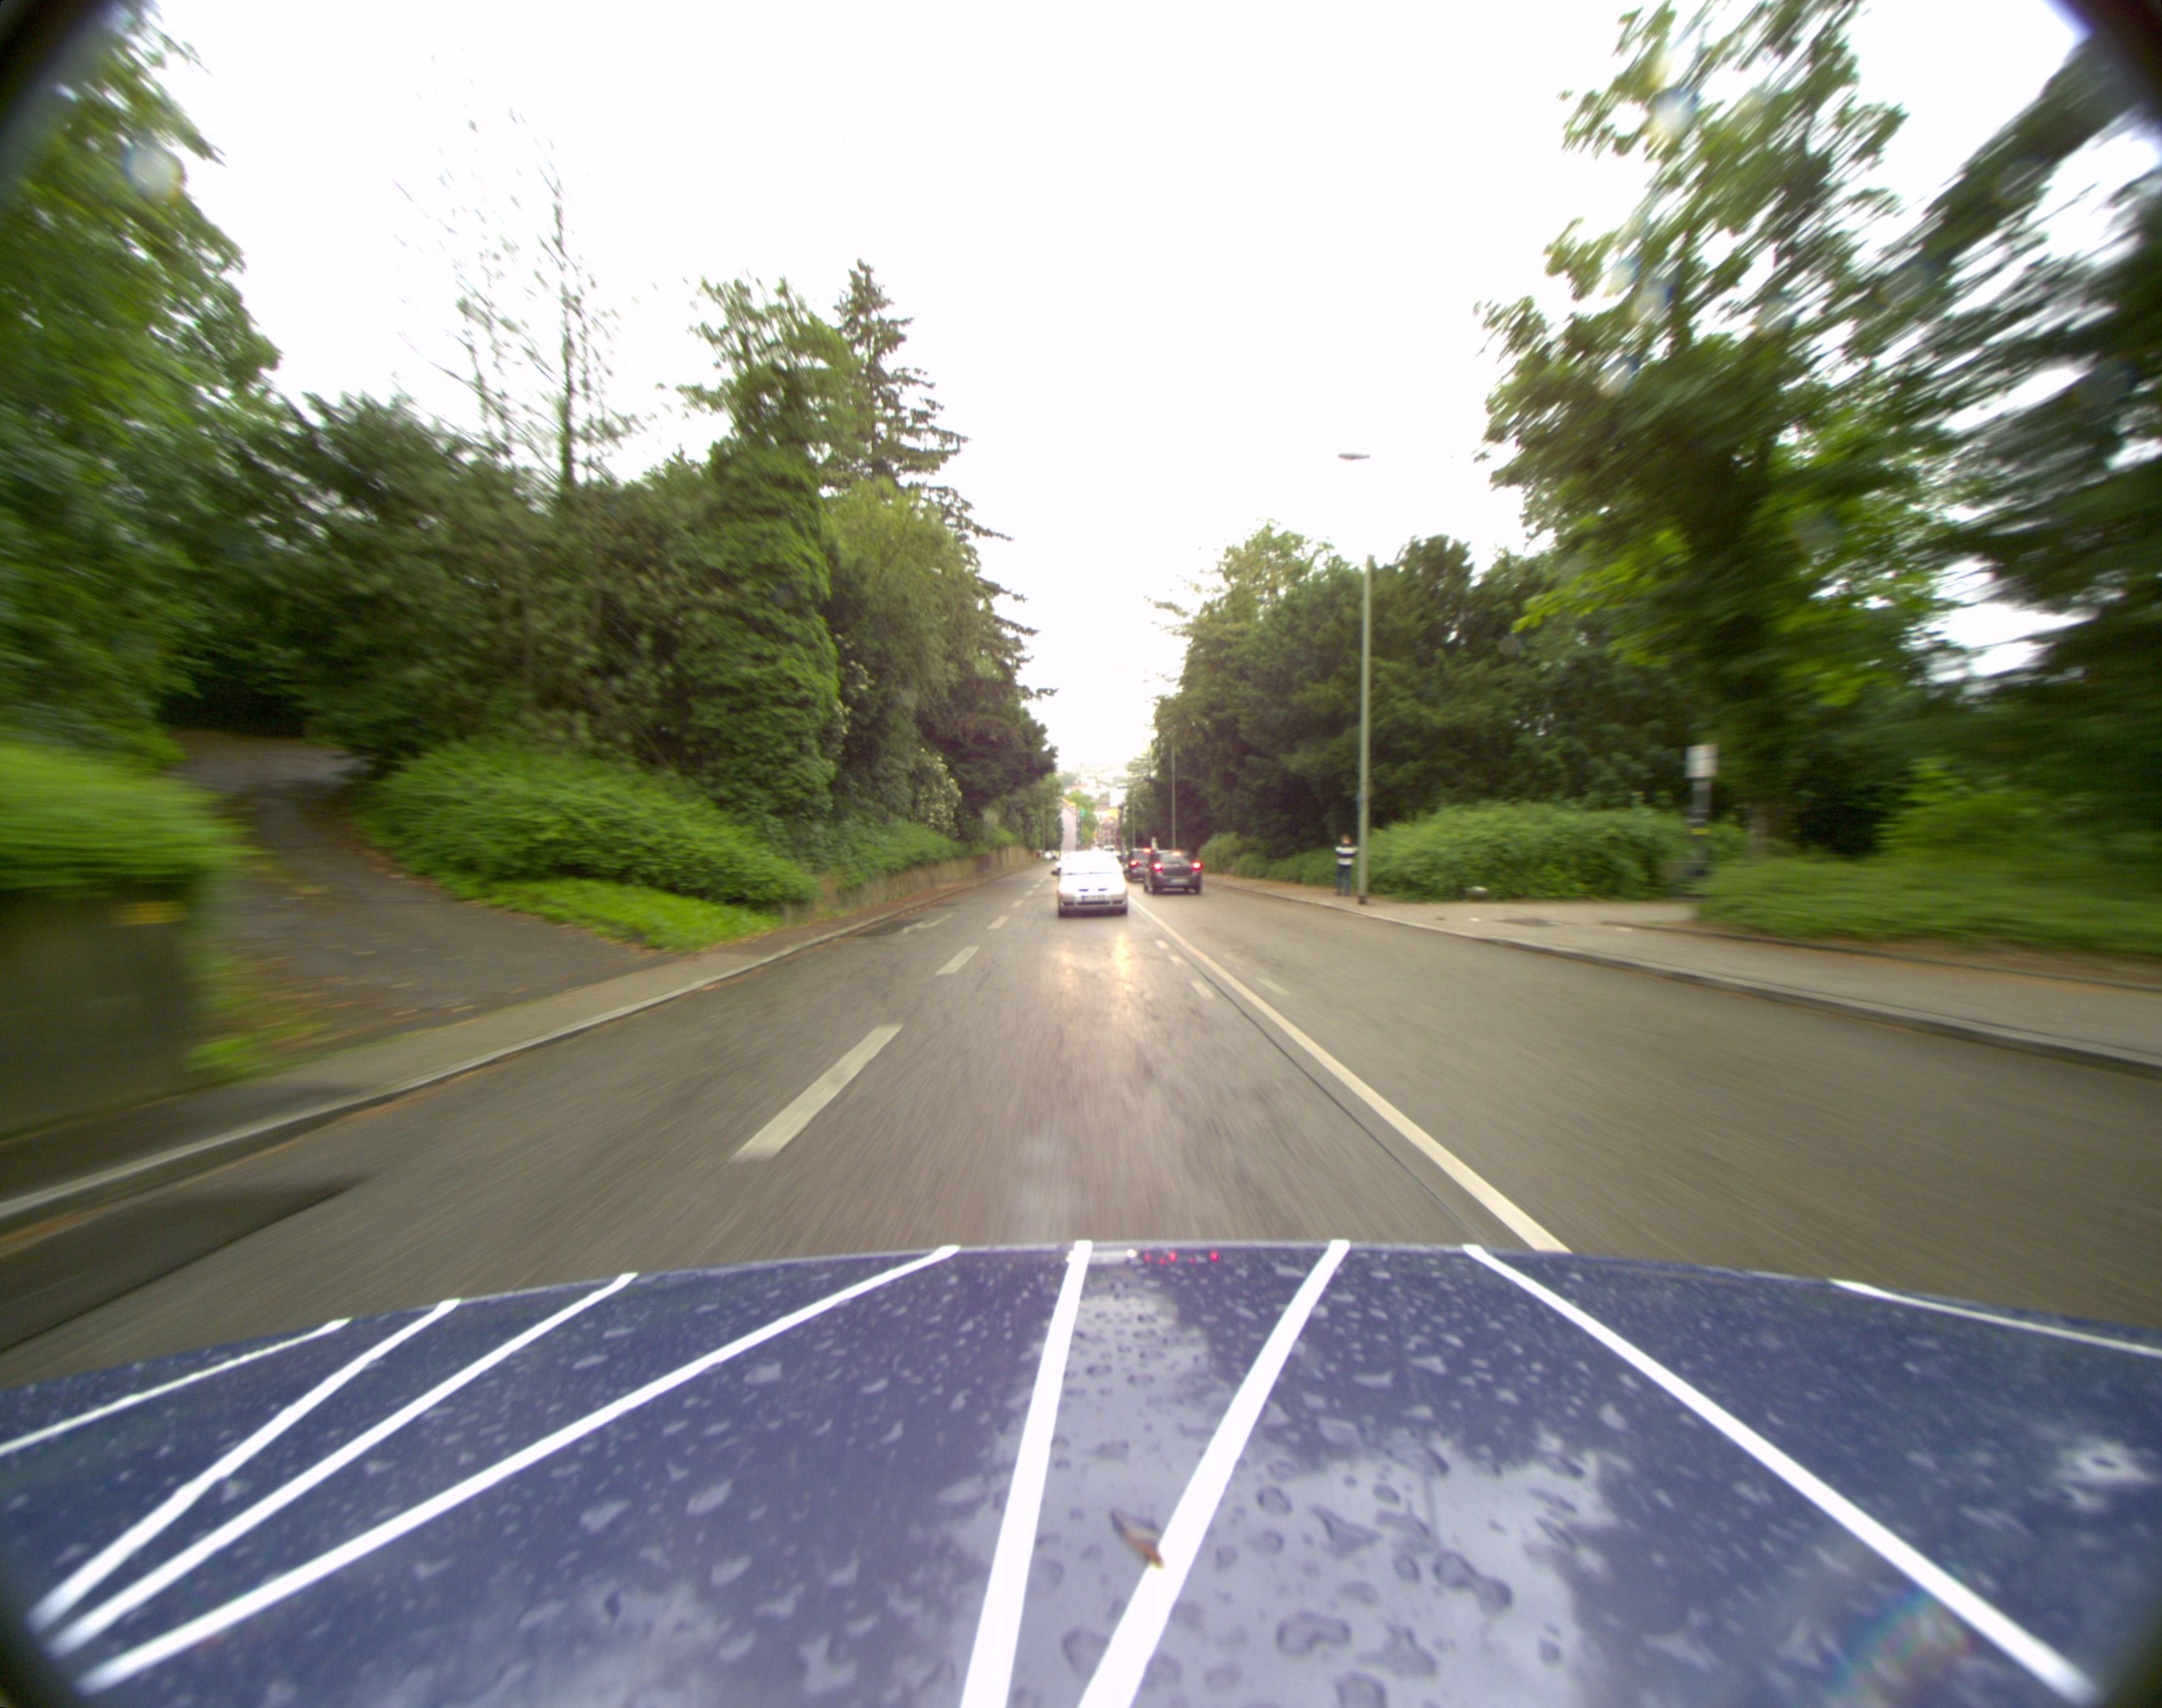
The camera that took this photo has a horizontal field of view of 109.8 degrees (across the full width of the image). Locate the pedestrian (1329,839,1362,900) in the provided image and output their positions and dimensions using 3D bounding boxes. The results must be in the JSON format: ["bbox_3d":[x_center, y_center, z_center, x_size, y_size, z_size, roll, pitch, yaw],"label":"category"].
[{"bbox_3d":[7.230,0.412,20.803,0.707,1.635,0.714,-1,1,6],"label":"pedestrian"}]

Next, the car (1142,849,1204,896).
[{"bbox_3d":[3.177,0.608,26.755,1.680,1.487,3.459,-1,1,-1],"label":"car"}]

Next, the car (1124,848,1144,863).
[{"bbox_3d":[5.786,0.133,83.319,1.891,1.602,4.238,2,1,0],"label":"car"}]

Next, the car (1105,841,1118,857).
[{"bbox_3d":[5.171,-0.885,127.890,2.122,2.536,5.444,2,1,2],"label":"car"}]

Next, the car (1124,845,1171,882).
[{"bbox_3d":[3.258,0.427,37.933,1.835,1.701,3.999,-2,1,-2],"label":"car"}]

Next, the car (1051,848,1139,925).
[{"bbox_3d":[0.459,0.692,18.467,1.825,1.603,4.189,-1,1,5],"label":"car"}]

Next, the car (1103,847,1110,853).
[{"bbox_3d":[6.534,-1.148,195.652,1.765,1.482,4.000,-1,1,3],"label":"car"}]

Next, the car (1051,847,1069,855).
[{"bbox_3d":[-5.018,-0.703,180.414,4.193,1.565,1.803,3,1,2],"label":"car"}]

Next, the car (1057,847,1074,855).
[{"bbox_3d":[-3.801,-0.761,185.928,4.193,1.565,1.803,3,1,2],"label":"car"}]

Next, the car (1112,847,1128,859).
[{"bbox_3d":[5.274,-0.134,103.820,1.864,1.485,4.754,3,0,-1],"label":"car"}]

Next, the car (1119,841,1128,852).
[{"bbox_3d":[10.675,-1.910,192.847,2.122,2.536,5.444,2,1,2],"label":"car"}]

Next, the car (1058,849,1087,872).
[{"bbox_3d":[-0.601,0.445,57.371,1.998,1.603,3.967,-1,1,1],"label":"car"}]

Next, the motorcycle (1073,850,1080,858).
[{"bbox_3d":[-0.661,-0.008,110.608,0.778,1.120,2.299,-2,1,4],"label":"motorcycle"}]

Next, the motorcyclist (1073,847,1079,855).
[{"bbox_3d":[-0.681,-0.393,110.577,0.778,1.120,0.549,-2,1,4],"label":"motorcyclist"}]

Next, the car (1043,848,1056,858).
[{"bbox_3d":[-5.146,-0.198,124.974,1.742,1.469,4.740,2,1,3],"label":"car"}]

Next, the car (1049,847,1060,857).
[{"bbox_3d":[-4.669,-0.362,135.948,1.769,1.614,4.679,0,1,1],"label":"car"}]
